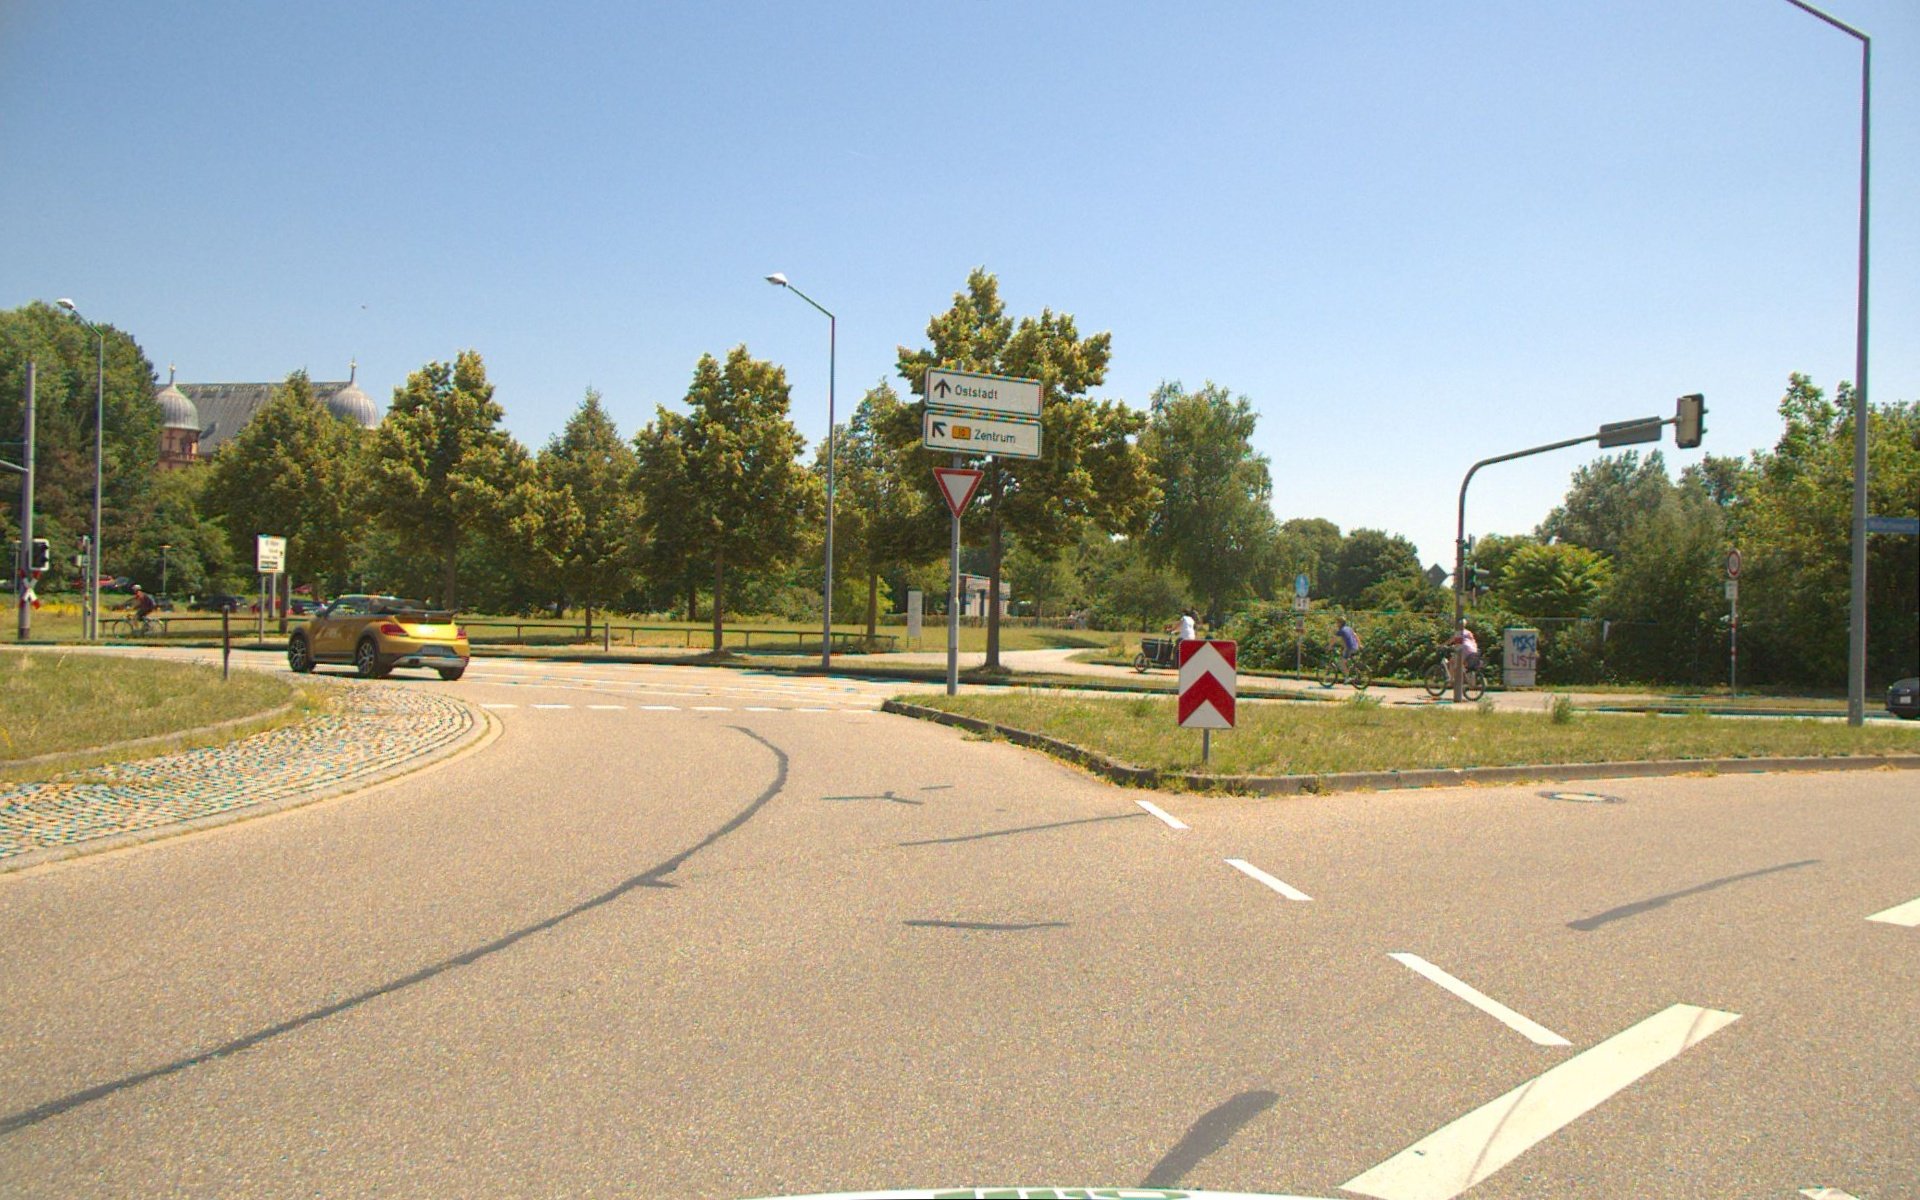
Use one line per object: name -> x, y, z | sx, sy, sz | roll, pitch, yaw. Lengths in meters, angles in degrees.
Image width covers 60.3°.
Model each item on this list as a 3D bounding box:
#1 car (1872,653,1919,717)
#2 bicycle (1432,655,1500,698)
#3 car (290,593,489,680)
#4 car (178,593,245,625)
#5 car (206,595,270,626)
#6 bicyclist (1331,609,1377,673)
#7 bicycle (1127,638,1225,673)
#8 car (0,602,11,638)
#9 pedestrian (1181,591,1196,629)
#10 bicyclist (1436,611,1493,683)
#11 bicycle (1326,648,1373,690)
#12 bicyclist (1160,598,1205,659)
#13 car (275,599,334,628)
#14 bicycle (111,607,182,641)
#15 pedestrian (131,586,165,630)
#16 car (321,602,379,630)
car -> 22.118, 1.851, 35.558 | 4.320, 1.292, 1.857 | 2, -1, -15
bicycle -> 11.939, 1.797, 39.093 | 0.877, 0.916, 2.225 | 3, -1, -1
car -> -10.232, 0.637, 29.598 | 3.596, 1.427, 1.821 | 1, -2, 42
car -> -51.899, 0.614, 114.810 | 3.925, 2.049, 1.990 | 2, -2, -18
car -> -52.521, 0.794, 120.389 | 3.925, 2.049, 1.990 | 2, -2, -18
bicyclist -> 9.996, 1.039, 41.965 | 0.936, 1.558, 1.186 | 1, 0, 4
bicycle -> 5.970, 1.529, 45.790 | 0.735, 0.928, 2.883 | 3, -3, -43
car -> -57.338, 1.087, 95.564 | 3.925, 2.049, 1.990 | 2, -2, -18
pedestrian -> 10.600, 0.471, 76.605 | 0.561, 1.761, 0.675 | 1, -2, 16
bicyclist -> 11.899, 1.111, 39.036 | 0.937, 1.638, 1.185 | 1, -2, -1
bicycle -> 9.891, 1.746, 42.079 | 0.877, 0.916, 1.763 | 3, 1, 5
bicyclist -> 6.150, 0.795, 45.654 | 0.750, 1.642, 0.962 | 4, -3, -44
car -> -49.283, 1.023, 124.406 | 3.925, 2.049, 1.990 | 2, -2, -18
bicycle -> -28.177, 0.834, 57.328 | 2.013, 1.135, 0.728 | 2, -2, -8
pedestrian -> -28.100, 0.289, 57.230 | 0.800, 1.476, 0.708 | 2, -2, -8
car -> -47.747, 1.244, 129.508 | 3.915, 2.049, 1.995 | 2, -2, -11
